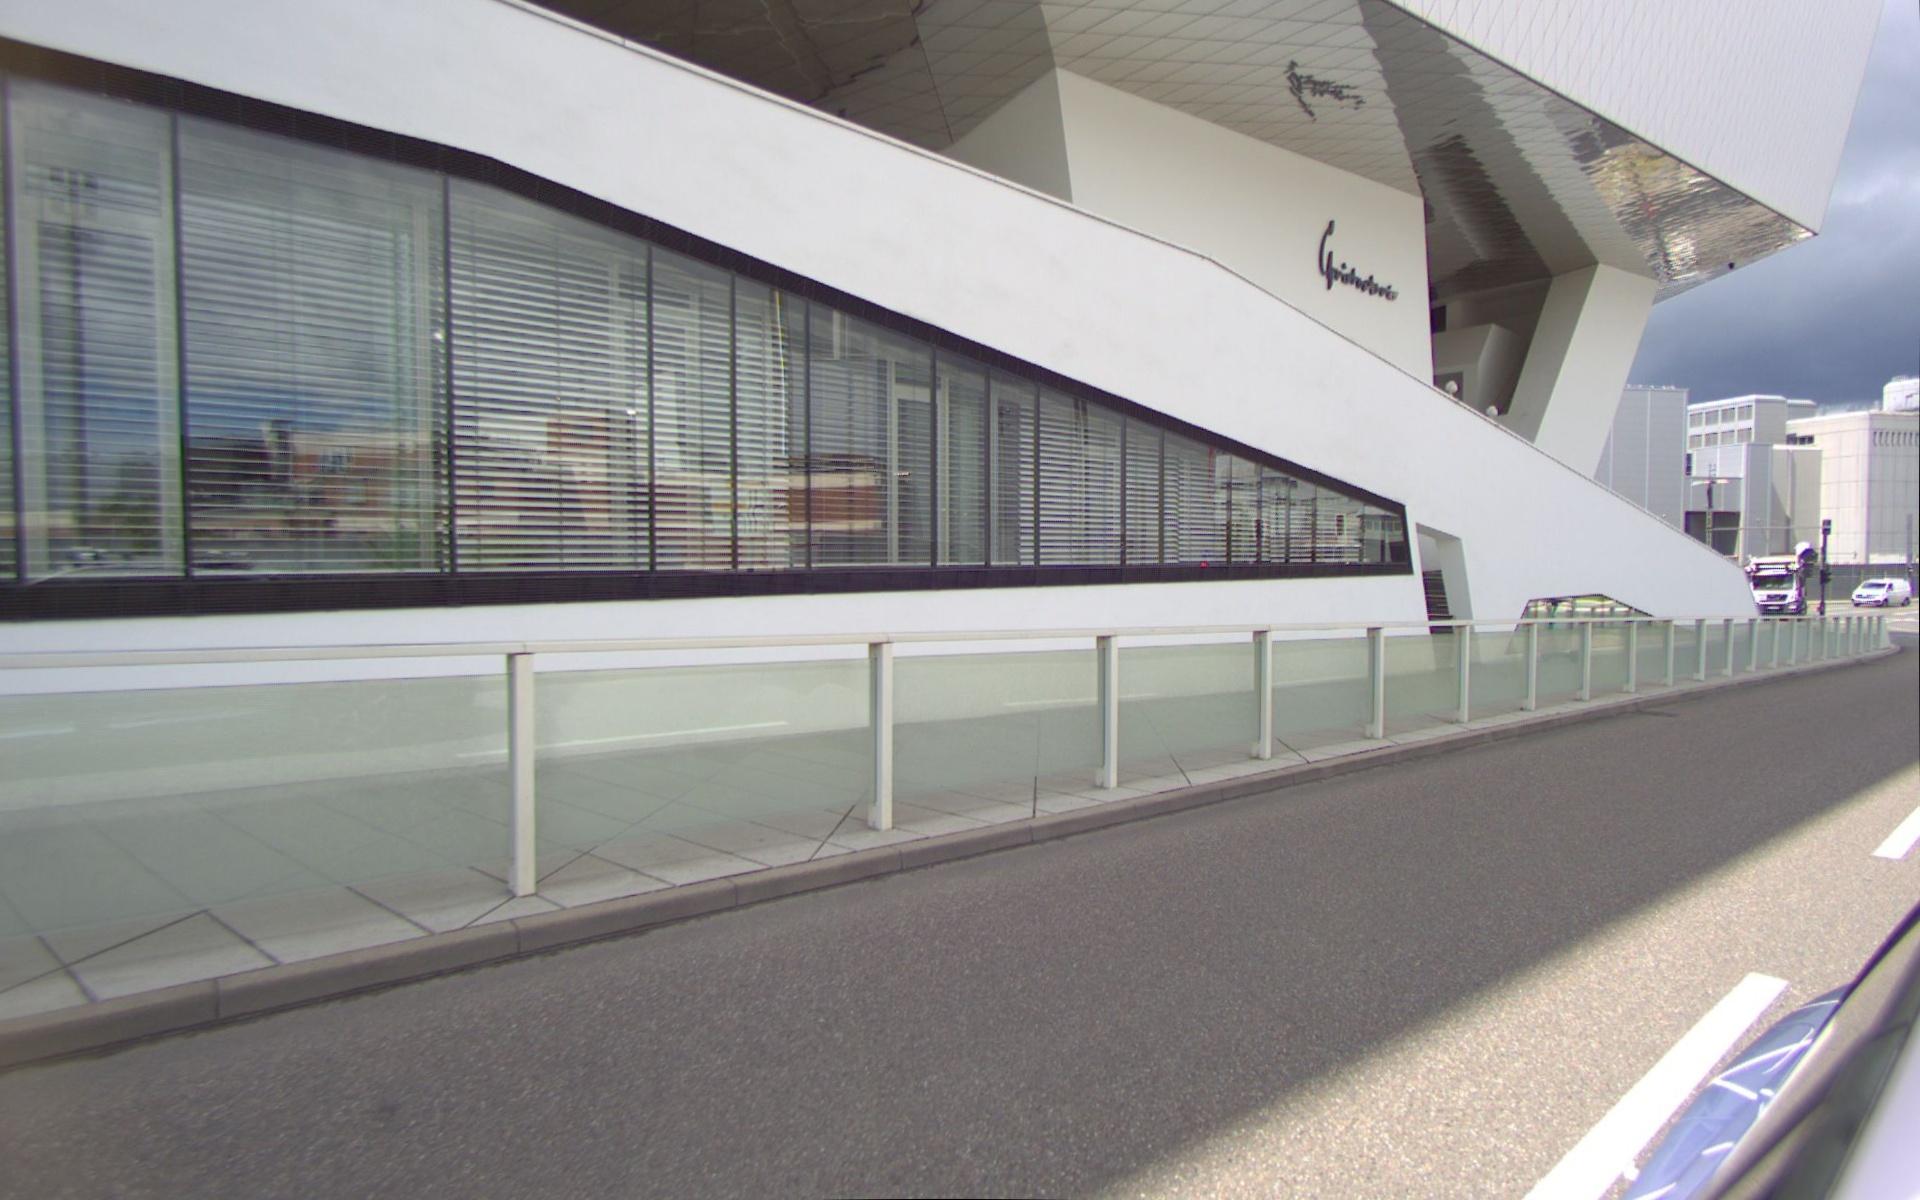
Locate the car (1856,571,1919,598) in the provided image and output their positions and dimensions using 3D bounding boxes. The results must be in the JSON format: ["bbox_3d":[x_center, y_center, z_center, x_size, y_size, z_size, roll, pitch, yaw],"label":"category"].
[{"bbox_3d":[69.452,-1.135,75.366,5.195,1.934,2.169,0,2,-25],"label":"car"}]

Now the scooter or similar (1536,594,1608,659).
[{"bbox_3d":[12.624,0.511,20.843,1.918,1.258,0.707,-1,2,-41],"label":"scooter or similar"}]

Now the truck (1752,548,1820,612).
[{"bbox_3d":[52.263,-1.309,63.900,2.835,3.736,10.592,2,2,42],"label":"truck"}]
